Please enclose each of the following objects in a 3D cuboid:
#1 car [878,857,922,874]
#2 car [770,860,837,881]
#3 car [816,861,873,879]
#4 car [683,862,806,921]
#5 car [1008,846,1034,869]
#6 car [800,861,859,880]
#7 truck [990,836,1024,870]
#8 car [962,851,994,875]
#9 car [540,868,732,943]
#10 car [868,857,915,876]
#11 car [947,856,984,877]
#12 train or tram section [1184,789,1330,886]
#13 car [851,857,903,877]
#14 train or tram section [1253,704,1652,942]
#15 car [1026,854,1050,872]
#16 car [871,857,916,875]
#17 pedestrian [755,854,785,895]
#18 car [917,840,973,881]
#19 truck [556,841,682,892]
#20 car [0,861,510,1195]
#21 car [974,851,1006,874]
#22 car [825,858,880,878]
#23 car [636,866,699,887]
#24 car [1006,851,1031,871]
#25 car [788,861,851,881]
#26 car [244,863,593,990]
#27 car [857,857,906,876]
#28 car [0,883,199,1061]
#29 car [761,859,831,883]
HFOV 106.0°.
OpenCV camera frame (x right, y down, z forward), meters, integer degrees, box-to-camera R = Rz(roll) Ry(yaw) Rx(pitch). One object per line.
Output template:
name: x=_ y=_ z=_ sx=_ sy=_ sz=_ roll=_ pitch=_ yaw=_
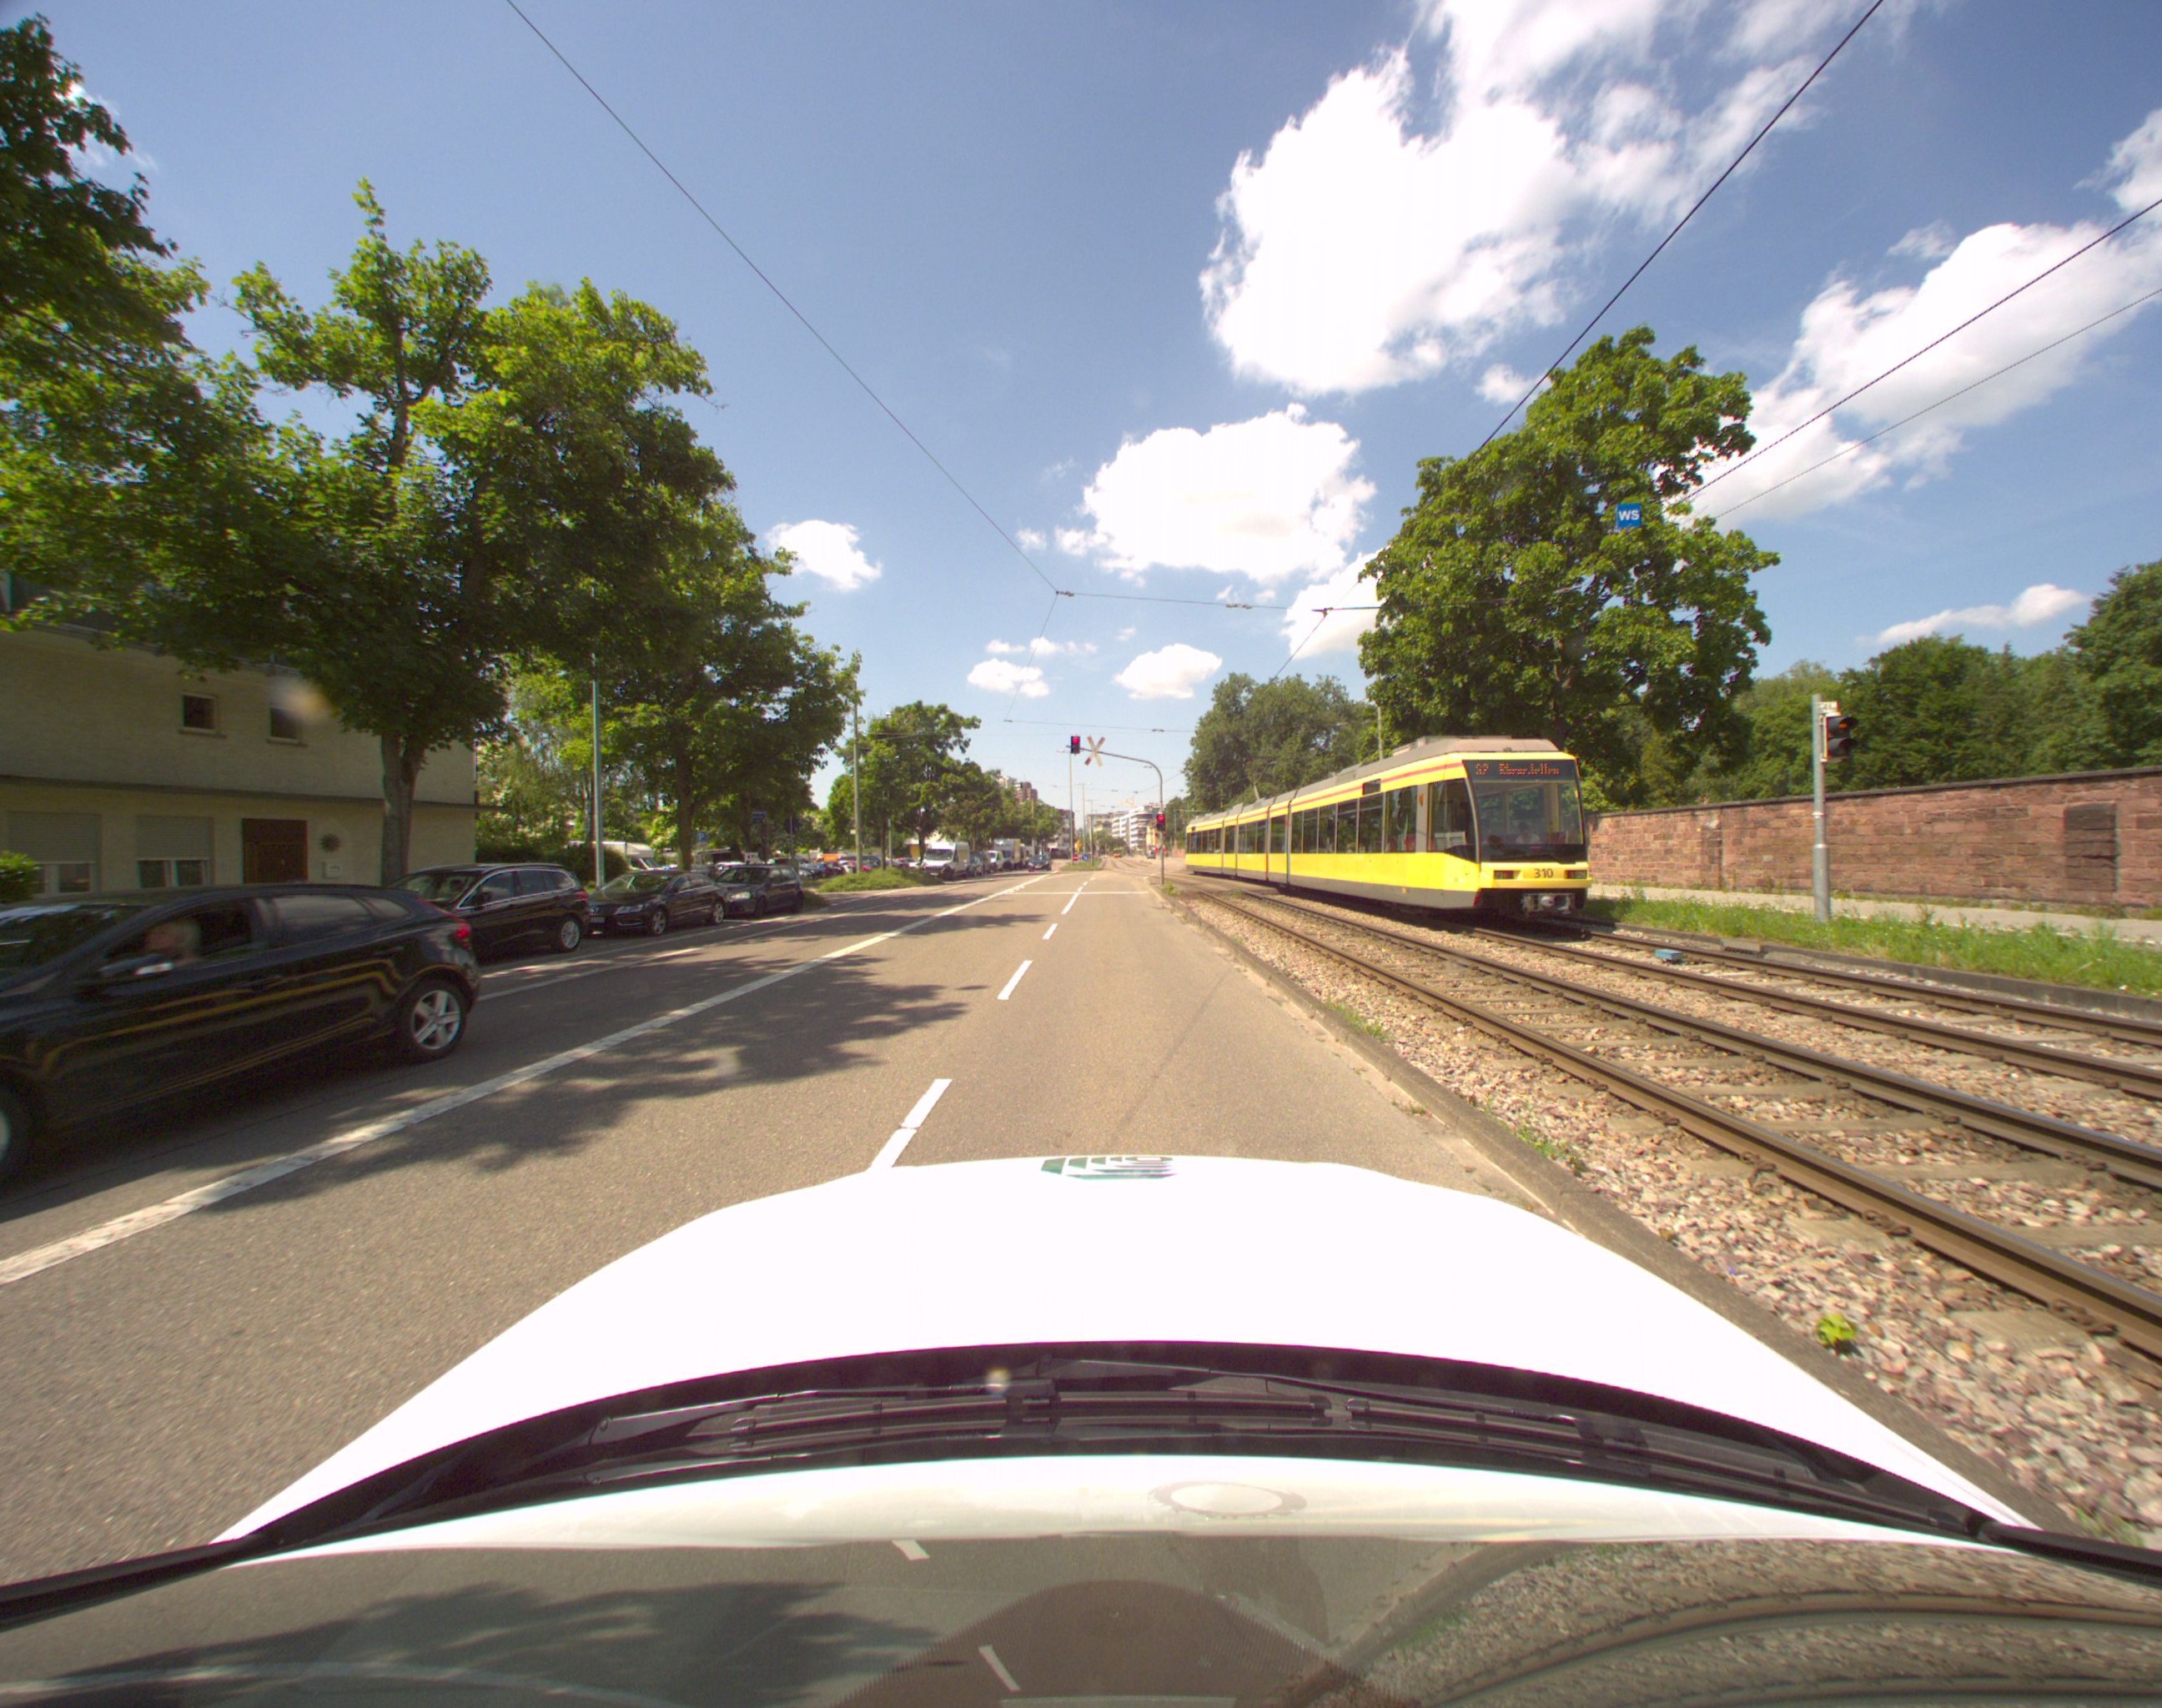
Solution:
car: x=-18.461 y=1.190 z=83.225 sx=3.973 sy=1.606 sz=1.805 roll=-2 pitch=0 yaw=0
car: x=-19.352 y=1.129 z=56.924 sx=3.973 sy=1.339 sz=1.805 roll=-2 pitch=0 yaw=0
car: x=-19.037 y=1.264 z=65.583 sx=3.973 sy=1.339 sz=1.805 roll=-2 pitch=0 yaw=0
car: x=-9.597 y=1.009 z=23.586 sx=1.768 sy=1.481 sz=4.049 roll=0 pitch=0 yaw=2
car: x=-7.050 y=0.421 z=96.589 sx=2.147 sy=2.639 sz=5.618 roll=-2 pitch=0 yaw=4
car: x=-19.418 y=1.238 z=63.029 sx=3.973 sy=1.339 sz=1.805 roll=-2 pitch=0 yaw=0
truck: x=-7.376 y=-0.132 z=81.622 sx=2.147 sy=3.210 sz=7.091 roll=2 pitch=0 yaw=4
car: x=-8.415 y=0.721 z=66.994 sx=1.861 sy=1.895 sz=4.274 roll=-2 pitch=0 yaw=3
car: x=-9.921 y=1.077 z=18.666 sx=1.769 sy=1.373 sz=4.697 roll=1 pitch=0 yaw=0
car: x=-18.256 y=1.192 z=78.543 sx=3.973 sy=1.606 sz=1.805 roll=-2 pitch=0 yaw=0
car: x=-8.443 y=0.880 z=59.811 sx=1.861 sy=1.437 sz=4.345 roll=-2 pitch=0 yaw=3
train or tram section: x=7.983 y=-0.685 z=41.142 sx=2.934 sy=3.692 sz=20.278 roll=0 pitch=0 yaw=0
car: x=-17.777 y=1.152 z=70.993 sx=3.973 sy=1.606 sz=1.805 roll=-2 pitch=0 yaw=0
train or tram section: x=7.735 y=-0.543 z=21.896 sx=2.932 sy=3.692 sz=18.398 roll=0 pitch=0 yaw=2
car: x=-3.639 y=0.743 z=69.227 sx=1.672 sy=1.398 sz=4.006 roll=-3 pitch=0 yaw=0
car: x=-18.539 y=1.208 z=80.831 sx=3.973 sy=1.606 sz=1.805 roll=-2 pitch=0 yaw=0
pedestrian: x=-13.974 y=0.905 z=36.631 sx=0.971 sy=1.823 sz=0.794 roll=-2 pitch=0 yaw=-1
car: x=-8.827 y=0.406 z=53.496 sx=2.147 sy=2.487 sz=6.200 roll=-1 pitch=0 yaw=4
truck: x=-31.639 y=0.847 z=55.904 sx=7.164 sy=3.228 sz=2.332 roll=-2 pitch=0 yaw=-1
car: x=-5.766 y=0.842 z=4.788 sx=1.769 sy=1.460 sz=4.195 roll=-3 pitch=0 yaw=0
car: x=-8.097 y=0.739 z=72.837 sx=2.053 sy=1.898 sz=4.874 roll=-2 pitch=0 yaw=3
car: x=-18.960 y=1.154 z=67.578 sx=3.973 sy=1.442 sz=1.806 roll=-2 pitch=0 yaw=1
car: x=-32.244 y=1.753 z=63.541 sx=3.973 sy=1.442 sz=1.805 roll=-2 pitch=0 yaw=0
car: x=-6.750 y=0.734 z=88.324 sx=2.053 sy=1.977 sz=4.874 roll=-2 pitch=0 yaw=3
car: x=-19.356 y=1.235 z=60.388 sx=3.973 sy=1.339 sz=1.805 roll=-2 pitch=0 yaw=0
car: x=-10.101 y=0.976 z=13.029 sx=1.769 sy=1.604 sz=4.637 roll=0 pitch=0 yaw=0
car: x=-18.369 y=1.176 z=75.206 sx=3.973 sy=1.606 sz=1.805 roll=-2 pitch=0 yaw=0
car: x=-10.144 y=1.062 z=6.110 sx=1.769 sy=1.455 sz=4.804 roll=-1 pitch=0 yaw=0
car: x=-19.020 y=1.127 z=54.496 sx=3.973 sy=1.442 sz=1.805 roll=-2 pitch=0 yaw=0
